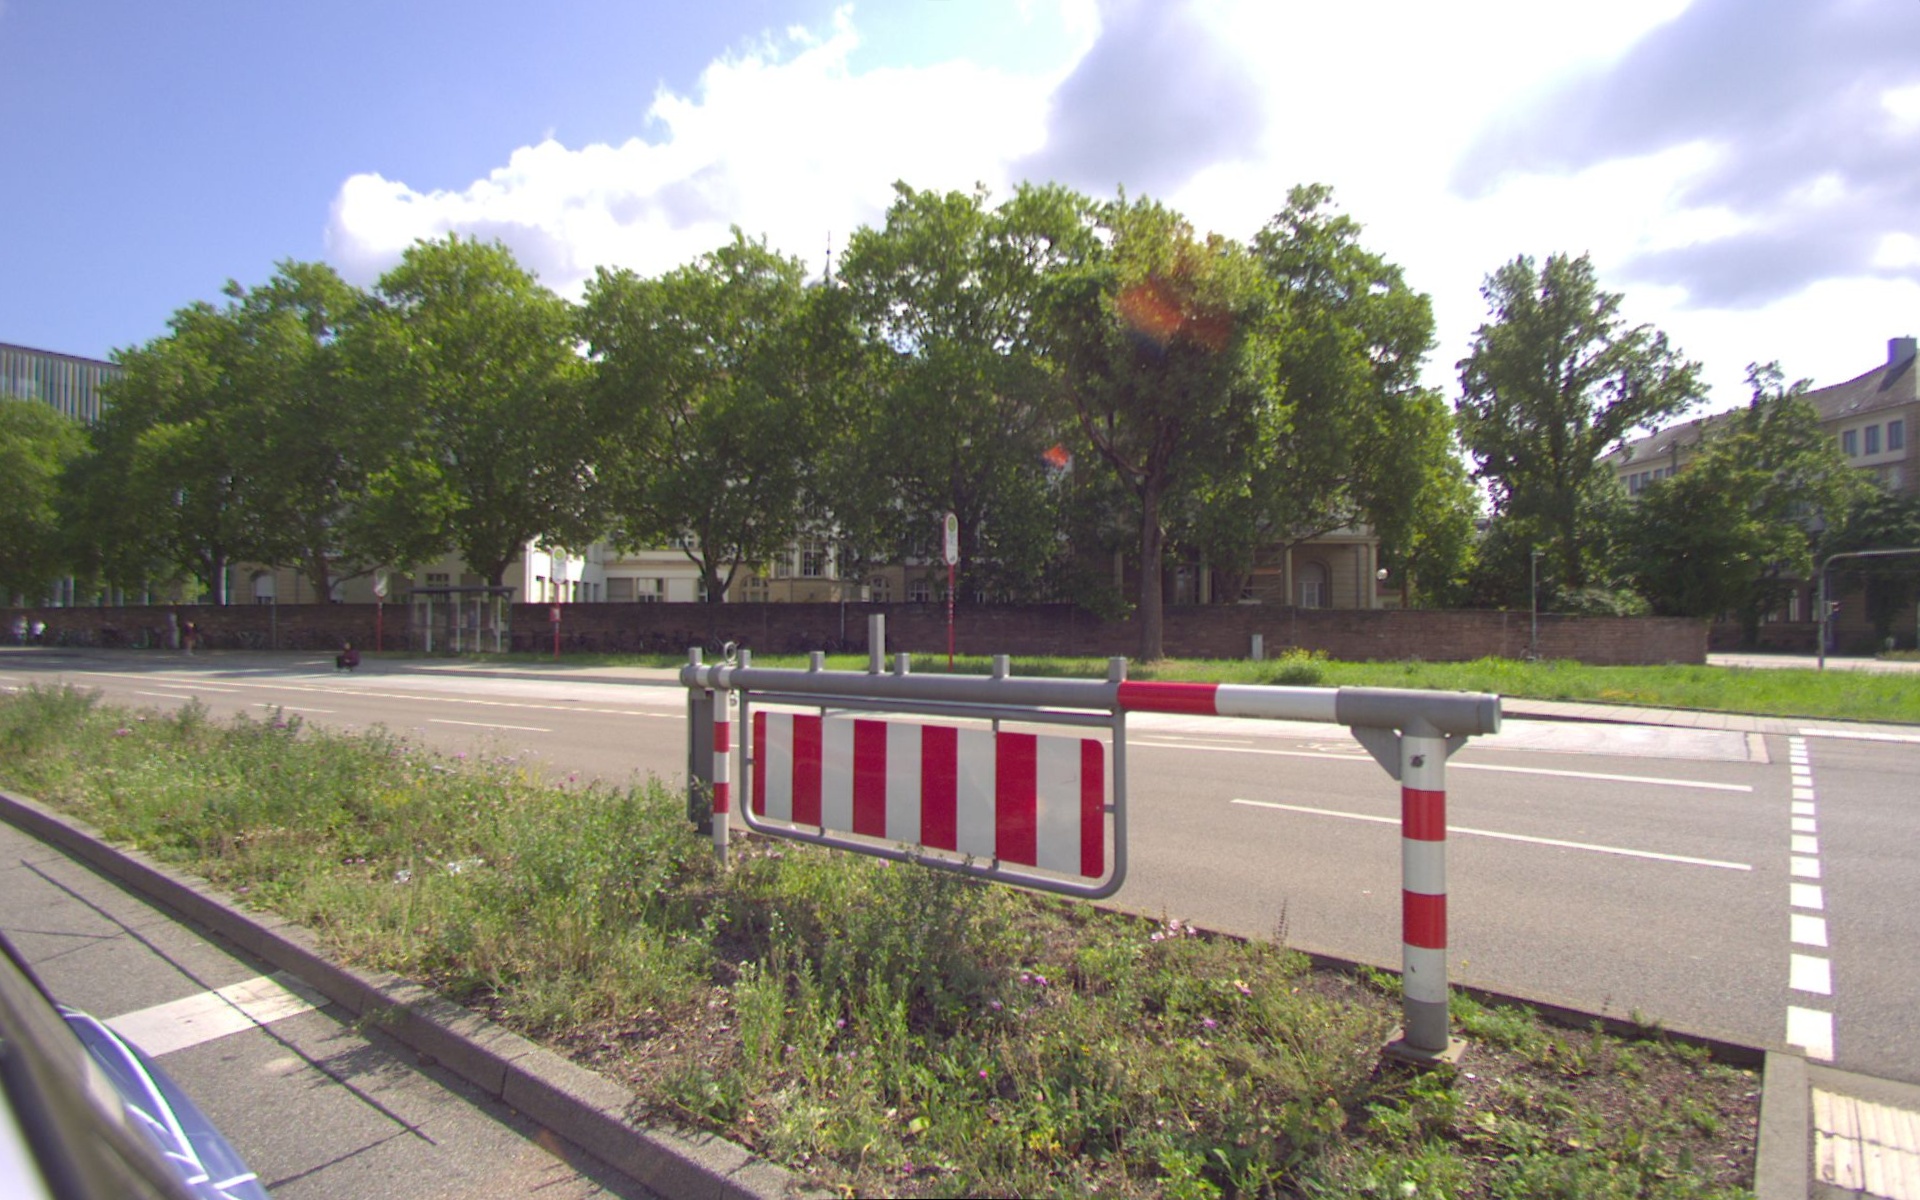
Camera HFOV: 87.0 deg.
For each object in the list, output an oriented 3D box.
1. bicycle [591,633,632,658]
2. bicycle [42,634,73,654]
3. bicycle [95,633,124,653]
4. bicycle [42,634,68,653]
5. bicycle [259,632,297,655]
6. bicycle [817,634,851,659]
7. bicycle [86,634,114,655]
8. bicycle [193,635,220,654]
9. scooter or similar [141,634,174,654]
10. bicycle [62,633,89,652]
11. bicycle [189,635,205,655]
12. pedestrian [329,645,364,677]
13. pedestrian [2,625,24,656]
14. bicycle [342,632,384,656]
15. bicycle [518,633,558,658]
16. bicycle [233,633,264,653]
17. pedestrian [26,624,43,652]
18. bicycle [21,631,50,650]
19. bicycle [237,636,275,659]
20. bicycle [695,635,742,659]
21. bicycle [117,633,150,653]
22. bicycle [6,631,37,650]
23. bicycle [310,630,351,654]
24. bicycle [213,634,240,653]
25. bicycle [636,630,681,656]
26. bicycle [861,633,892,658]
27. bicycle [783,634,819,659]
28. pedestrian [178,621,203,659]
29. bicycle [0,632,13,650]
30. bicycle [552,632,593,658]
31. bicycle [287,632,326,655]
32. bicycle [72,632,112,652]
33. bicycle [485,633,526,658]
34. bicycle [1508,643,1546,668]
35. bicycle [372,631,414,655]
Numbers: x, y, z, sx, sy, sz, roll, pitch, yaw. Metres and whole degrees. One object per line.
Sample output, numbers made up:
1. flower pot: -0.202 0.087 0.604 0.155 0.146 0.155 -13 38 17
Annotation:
1. bicycle: -15.013 1.951 43.575 1.615 1.081 0.582 -1 -2 13
2. bicycle: -49.507 2.393 55.515 1.870 1.056 0.588 -1 -2 25
3. bicycle: -45.296 2.270 53.903 1.870 1.056 0.392 -1 -2 25
4. bicycle: -50.711 2.443 56.719 1.870 1.056 0.368 -1 -2 25
5. bicycle: -32.800 2.076 48.657 1.742 1.081 0.580 -1 -2 19
6. bicycle: -5.208 1.938 41.942 1.357 1.019 0.390 -1 -2 14
7. bicycle: -45.475 2.352 53.533 1.870 1.056 0.371 -1 -2 25
8. bicycle: -37.891 2.229 50.887 1.391 0.962 0.365 -1 -2 19
9. scooter or similar: -41.655 2.272 52.515 1.870 1.056 0.577 -1 -2 25
10. bicycle: -48.872 2.341 55.902 1.870 1.056 0.368 -1 -2 25
11. bicycle: -37.728 2.216 50.020 1.625 0.962 0.362 -2 -2 43
12. pedestrian: -19.437 1.929 32.063 0.741 0.970 0.689 -1 -1 33
13. pedestrian: -51.809 2.222 55.370 0.728 1.664 0.637 -1 -2 29
14. bicycle: -27.714 2.046 46.965 1.738 1.081 0.582 -1 -2 13
15. bicycle: -18.487 1.980 44.344 1.615 1.081 0.582 -1 -2 13
16. bicycle: -34.869 2.107 49.603 1.614 0.962 0.369 -1 -2 19
17. pedestrian: -51.672 2.096 56.509 0.614 1.551 0.473 -1 -2 29
18. bicycle: -52.800 2.323 57.796 1.870 1.056 0.561 -1 -2 25
19. bicycle: -34.069 2.279 48.969 1.742 1.081 0.580 -1 -2 19
20. bicycle: -10.185 1.987 42.743 1.945 1.019 0.470 -1 -2 14
21. bicycle: -43.487 2.243 53.244 1.870 1.056 0.577 -1 -2 25
22. bicycle: -54.496 2.335 58.750 1.870 1.056 0.626 -1 -2 25
23. bicycle: -29.493 1.972 47.400 1.738 1.081 0.582 -1 -2 13
24. bicycle: -36.511 2.152 50.355 1.391 0.962 0.365 -1 -2 19
25. bicycle: -12.887 1.817 43.213 1.854 1.081 0.581 -1 -2 18
26. bicycle: -3.430 1.889 41.679 1.242 1.019 0.352 -1 -2 14
27. bicycle: -6.627 1.921 42.178 1.442 1.019 0.470 -1 -2 14
28. pedestrian: -33.363 1.742 43.882 0.743 1.622 0.650 -1 -1 35
29. bicycle: -56.737 2.405 59.716 1.870 1.056 0.626 -1 -2 25
30. bicycle: -16.824 1.944 43.944 1.615 1.081 0.582 -1 -2 13
31. bicycle: -31.089 2.071 48.122 1.741 1.081 0.581 -1 -2 18
32. bicycle: -47.109 2.285 54.943 1.860 1.056 0.592 0 -2 10
33. bicycle: -20.122 1.996 44.805 1.615 1.081 0.582 -1 -2 13
34. bicycle: 23.166 2.264 41.348 1.497 0.999 0.395 1 -2 -13
35. bicycle: -25.965 1.985 46.387 1.738 1.081 0.582 -1 -2 13
